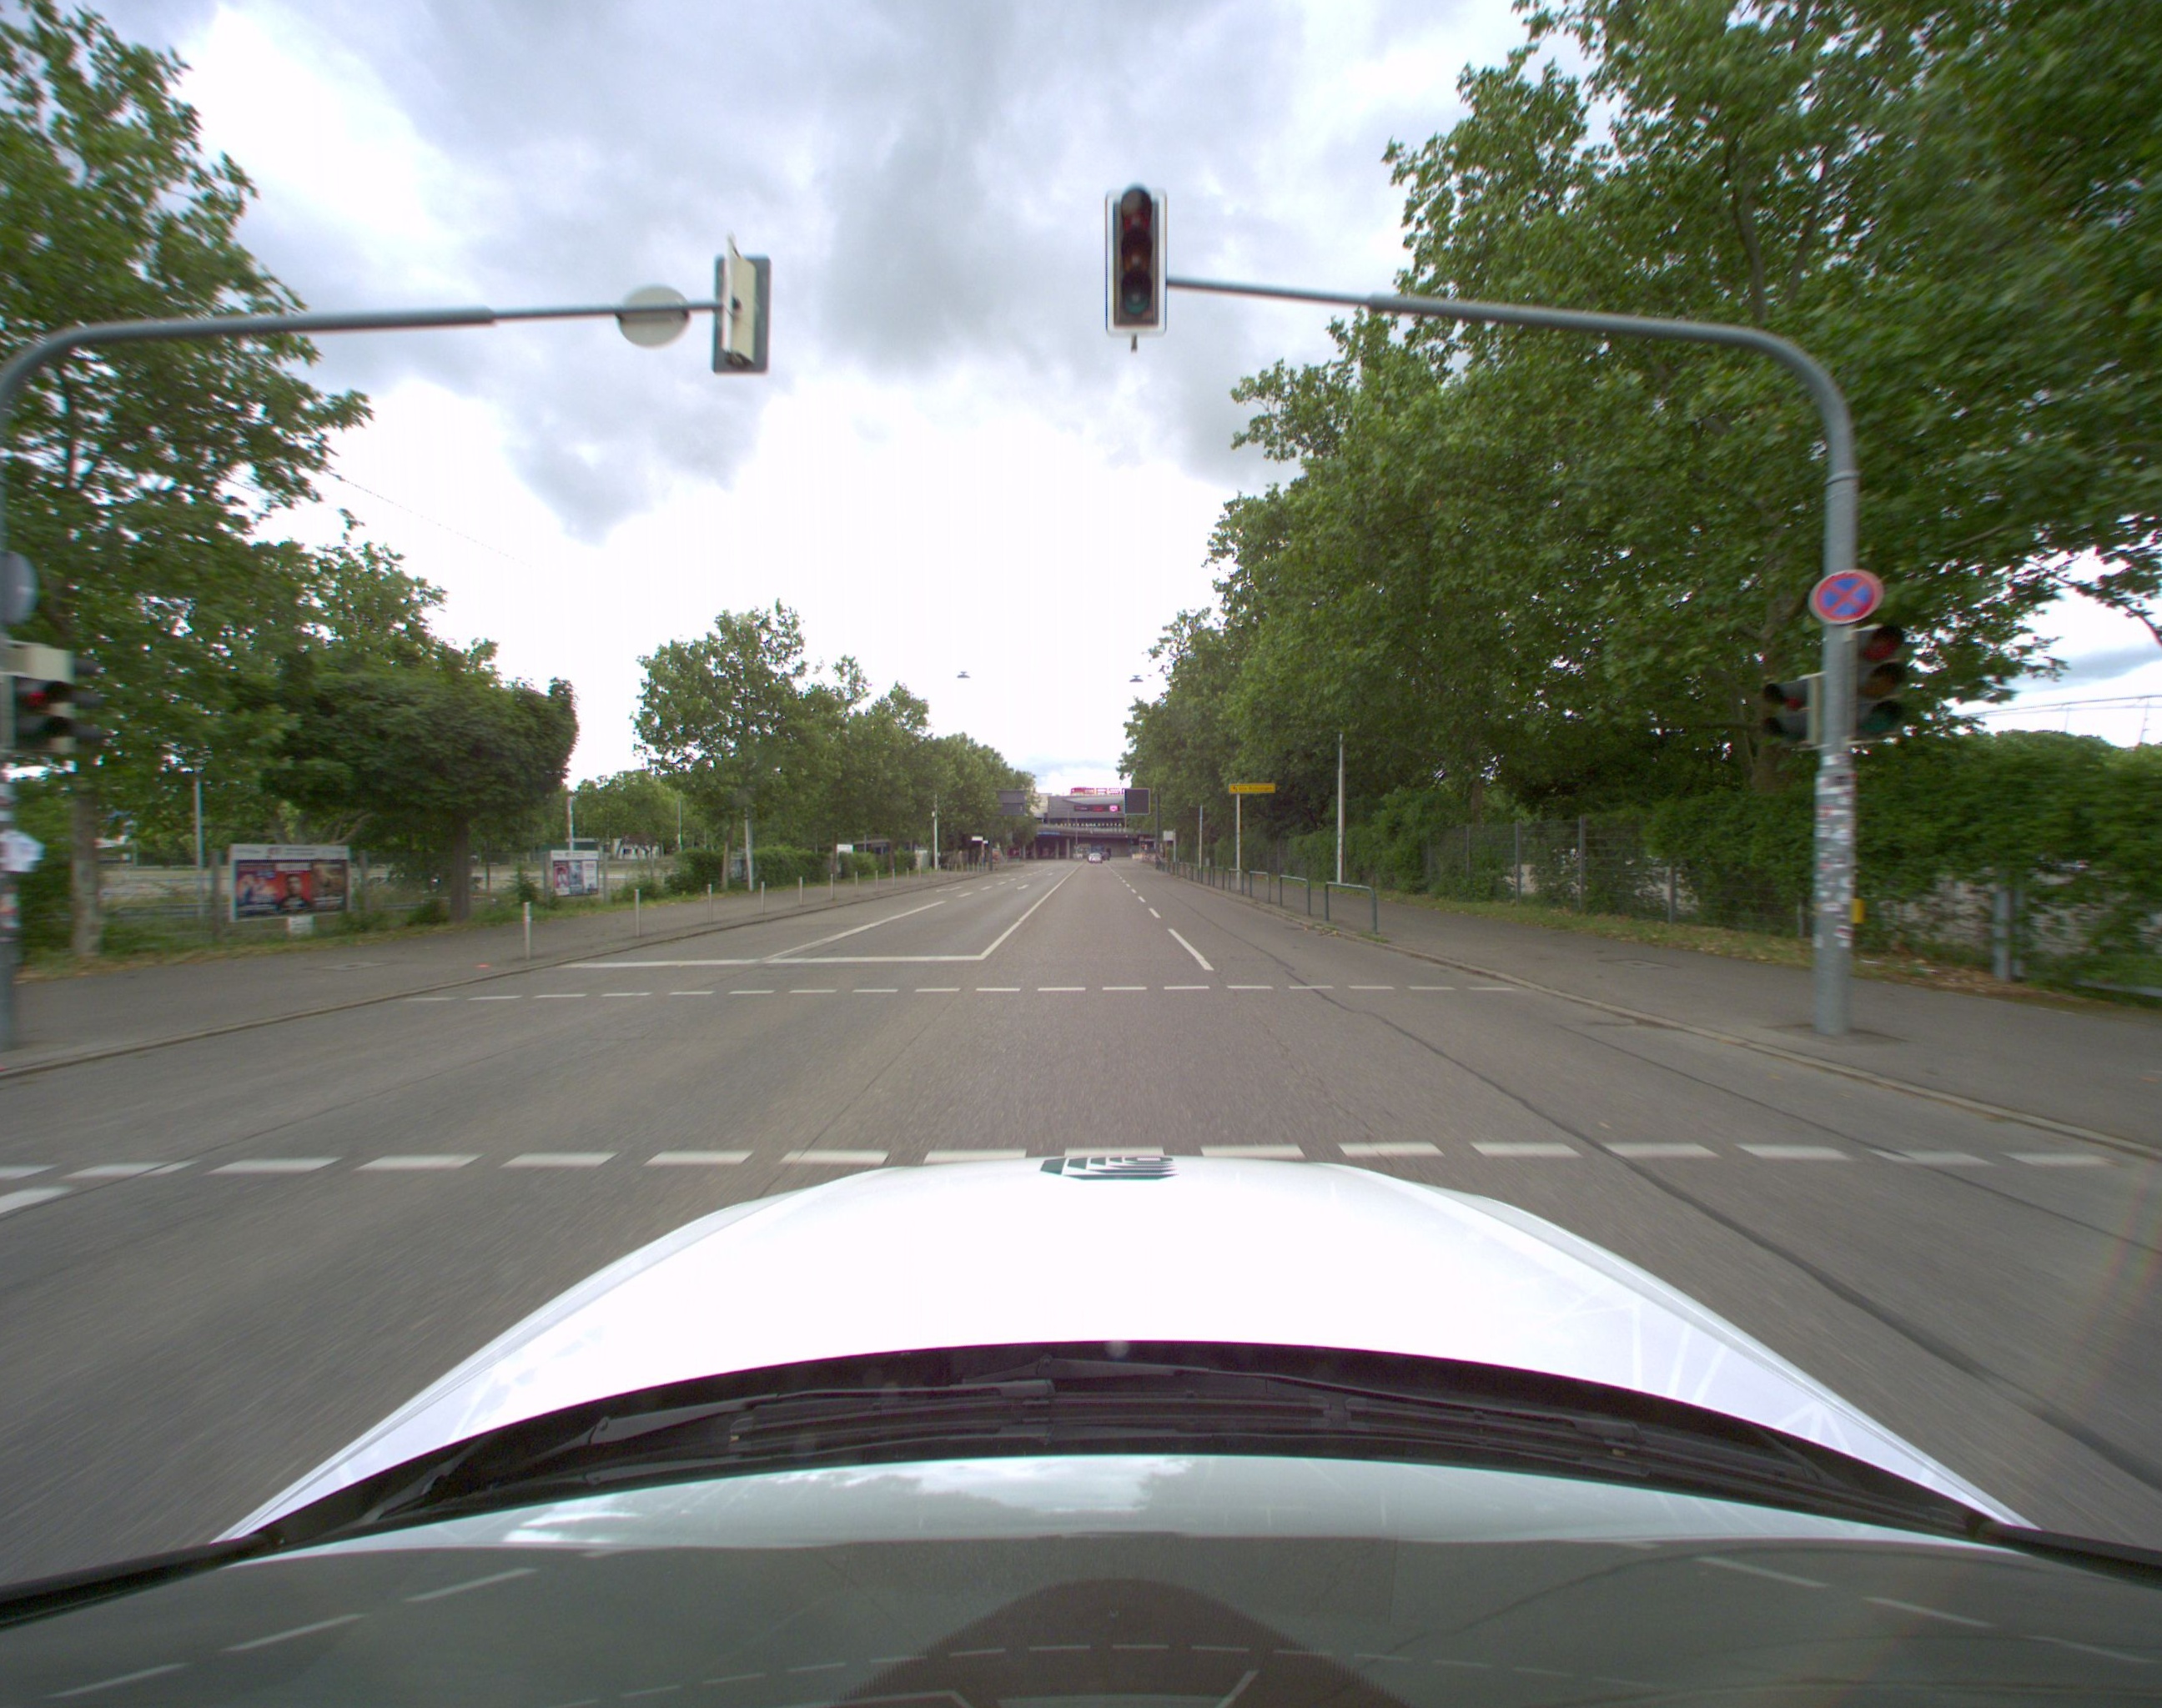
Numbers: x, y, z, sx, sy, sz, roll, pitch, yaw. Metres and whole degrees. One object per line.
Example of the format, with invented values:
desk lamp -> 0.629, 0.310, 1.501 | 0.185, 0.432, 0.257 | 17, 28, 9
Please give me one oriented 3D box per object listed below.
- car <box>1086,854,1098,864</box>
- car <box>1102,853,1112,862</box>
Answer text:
car -> 1.751, 0.787, 127.457 | 1.771, 1.460, 3.824 | 1, 0, 2
car -> 5.362, 0.705, 169.280 | 1.999, 1.698, 4.071 | 0, 0, 2
